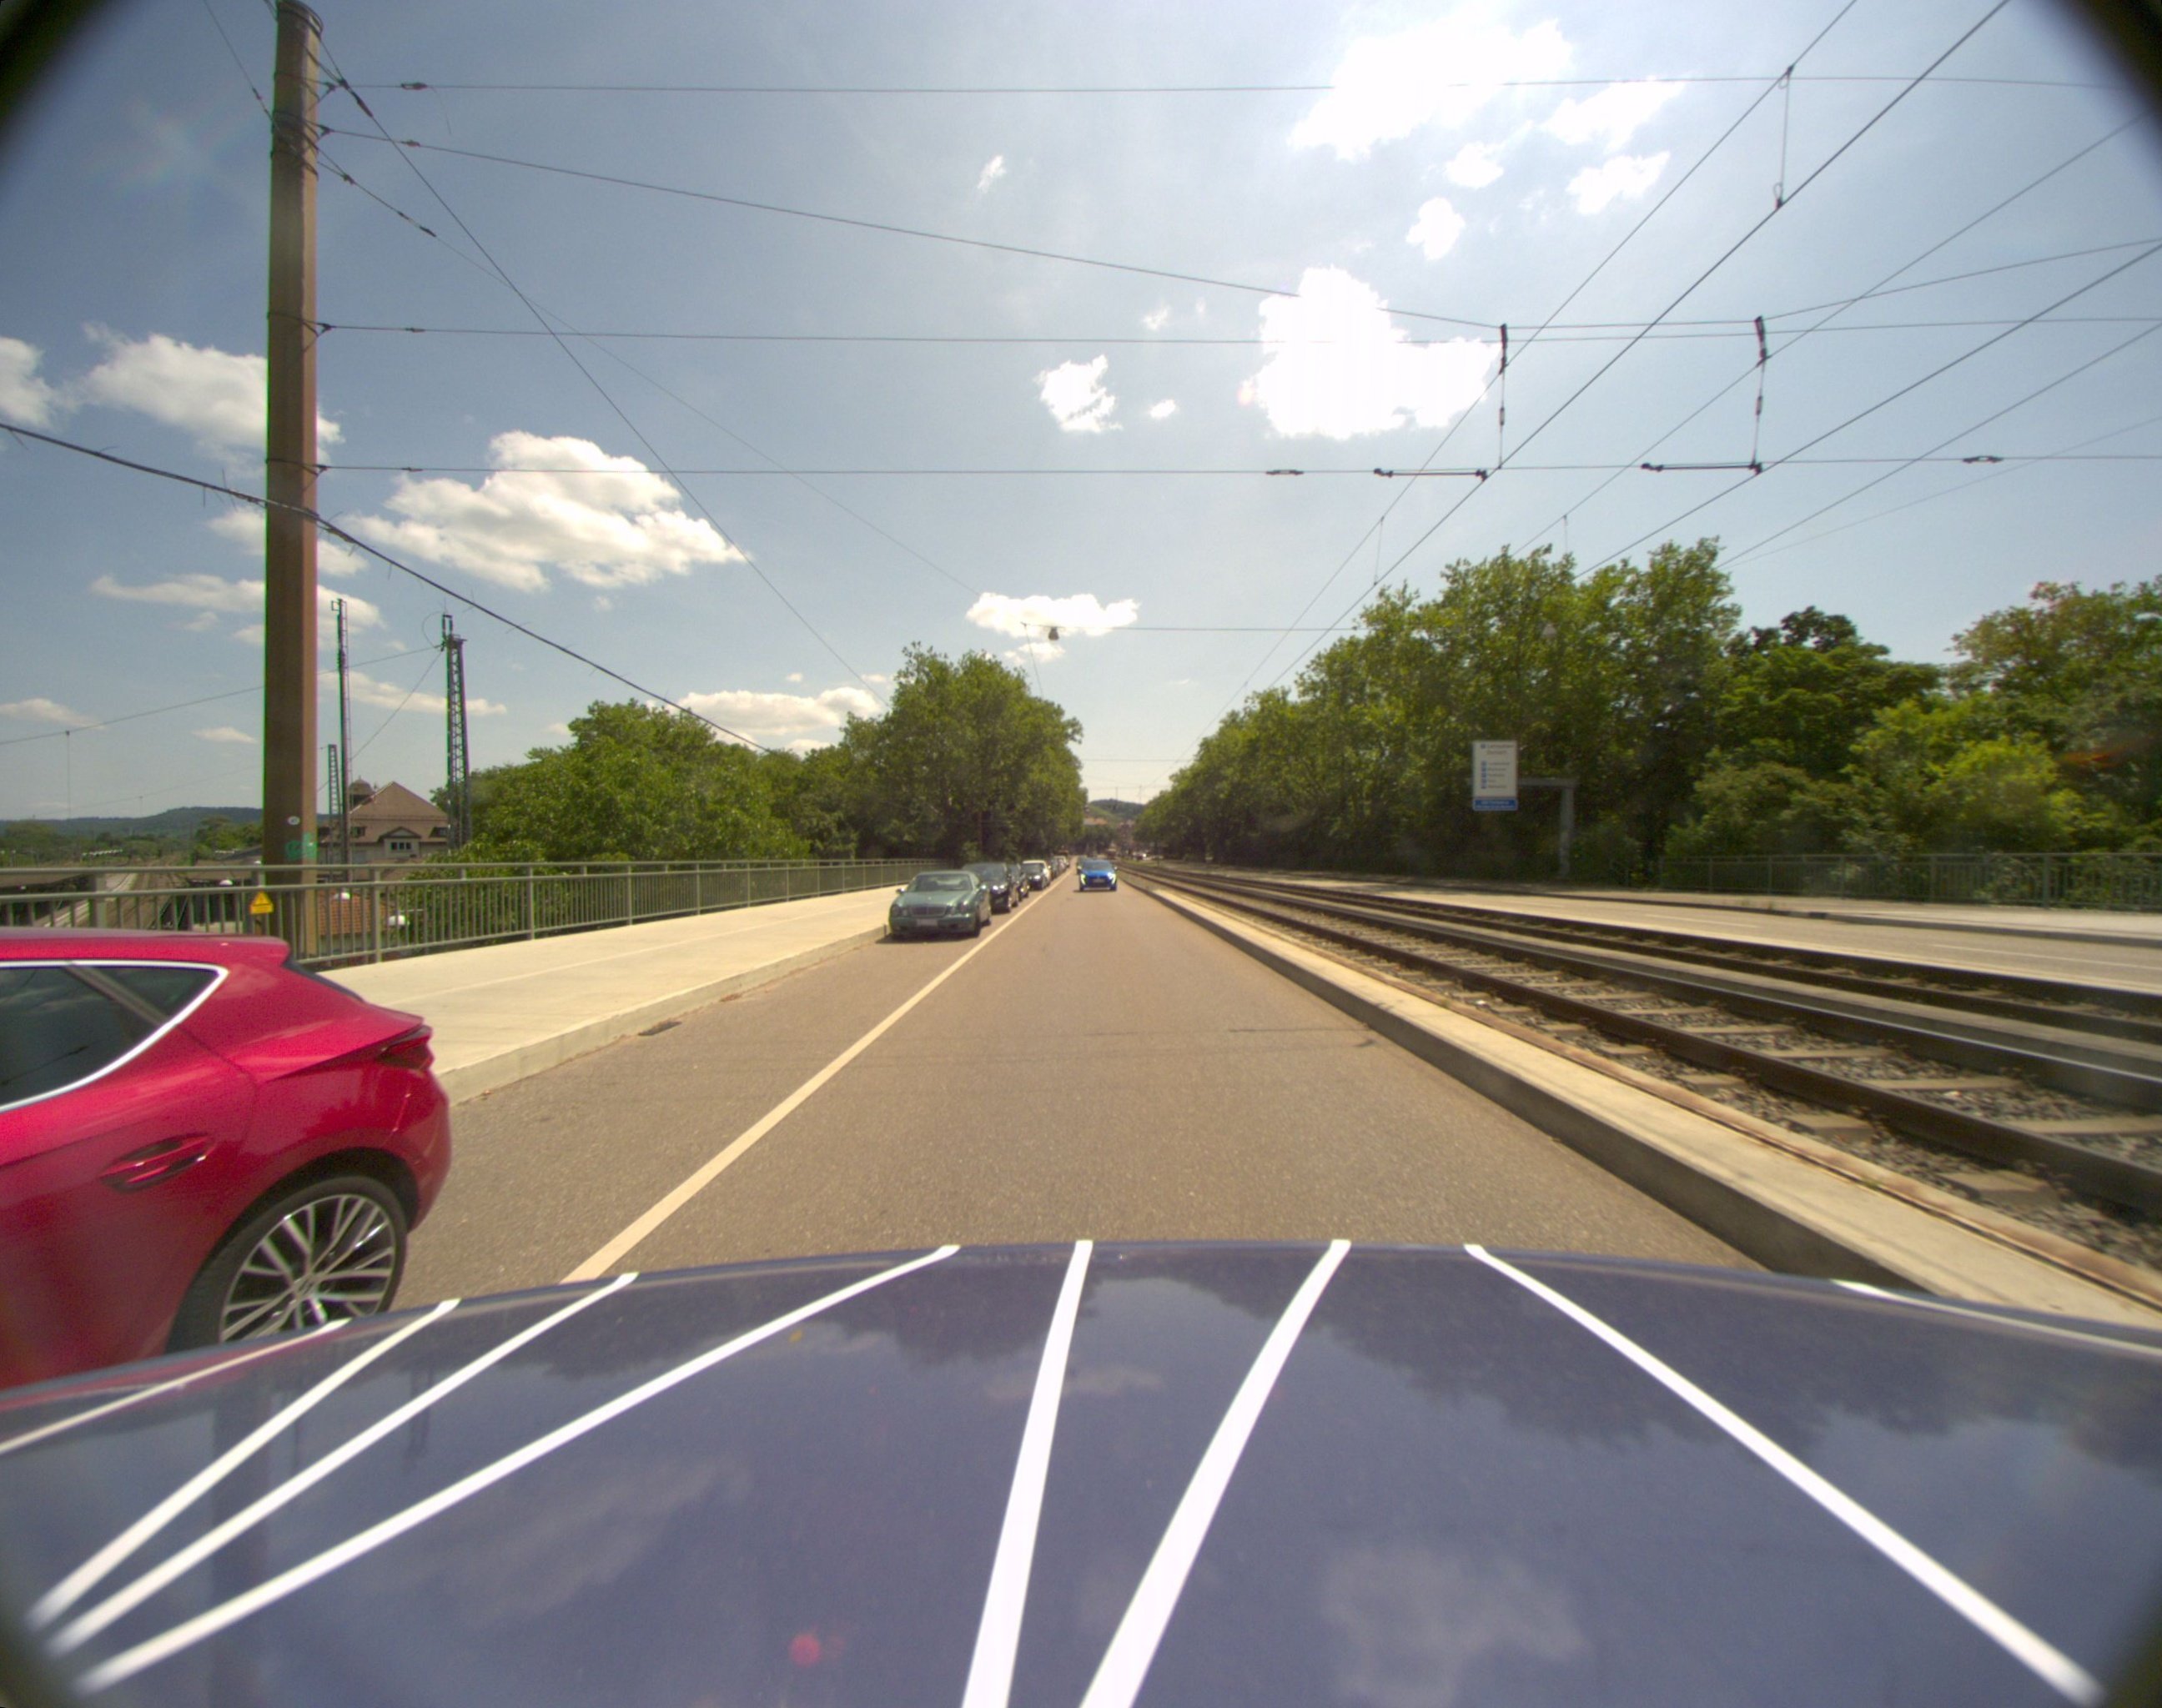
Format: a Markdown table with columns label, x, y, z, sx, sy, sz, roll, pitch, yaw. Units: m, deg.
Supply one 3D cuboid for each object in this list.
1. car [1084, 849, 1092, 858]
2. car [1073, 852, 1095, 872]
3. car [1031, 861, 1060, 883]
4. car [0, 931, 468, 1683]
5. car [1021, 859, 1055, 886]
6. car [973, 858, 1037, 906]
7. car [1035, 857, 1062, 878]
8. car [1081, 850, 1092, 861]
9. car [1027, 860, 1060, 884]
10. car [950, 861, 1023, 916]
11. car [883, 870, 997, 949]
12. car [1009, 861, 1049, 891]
| label | x | y | z | sx | sy | sz | roll | pitch | yaw |
| --- | --- | --- | --- | --- | --- | --- | --- | --- | --- |
| car | 1.645 | -0.212 | 182.133 | 1.998 | 2.002 | 3.999 | -2 | 1 | 0 |
| car | 0.302 | 0.745 | 72.226 | 1.797 | 1.726 | 3.768 | -3 | 0 | 3 |
| car | -2.597 | 1.318 | 56.622 | 1.829 | 1.422 | 4.246 | -2 | 0 | 1 |
| car | -3.114 | 1.033 | 0.639 | 1.651 | 1.451 | 4.285 | -2 | 0 | 0 |
| car | -2.476 | 1.055 | 44.563 | 1.683 | 1.423 | 4.159 | -1 | 0 | 0 |
| car | -2.835 | 1.017 | 29.251 | 1.829 | 1.549 | 4.159 | -4 | 0 | 1 |
| car | -2.611 | 1.065 | 61.584 | 1.798 | 1.614 | 4.246 | -2 | 0 | 1 |
| car | 1.042 | 0.304 | 144.897 | 1.998 | 2.002 | 4.000 | -2 | 1 | 2 |
| car | -2.501 | 1.194 | 51.157 | 1.829 | 1.422 | 4.246 | -2 | 0 | 1 |
| car | -2.801 | 0.981 | 23.285 | 1.639 | 1.445 | 4.388 | -2 | 0 | 0 |
| car | -2.908 | 1.092 | 16.647 | 1.689 | 1.351 | 4.592 | -2 | 0 | -1 |
| car | -2.590 | 1.089 | 38.588 | 1.759 | 1.382 | 3.699 | -1 | 0 | 0 |
